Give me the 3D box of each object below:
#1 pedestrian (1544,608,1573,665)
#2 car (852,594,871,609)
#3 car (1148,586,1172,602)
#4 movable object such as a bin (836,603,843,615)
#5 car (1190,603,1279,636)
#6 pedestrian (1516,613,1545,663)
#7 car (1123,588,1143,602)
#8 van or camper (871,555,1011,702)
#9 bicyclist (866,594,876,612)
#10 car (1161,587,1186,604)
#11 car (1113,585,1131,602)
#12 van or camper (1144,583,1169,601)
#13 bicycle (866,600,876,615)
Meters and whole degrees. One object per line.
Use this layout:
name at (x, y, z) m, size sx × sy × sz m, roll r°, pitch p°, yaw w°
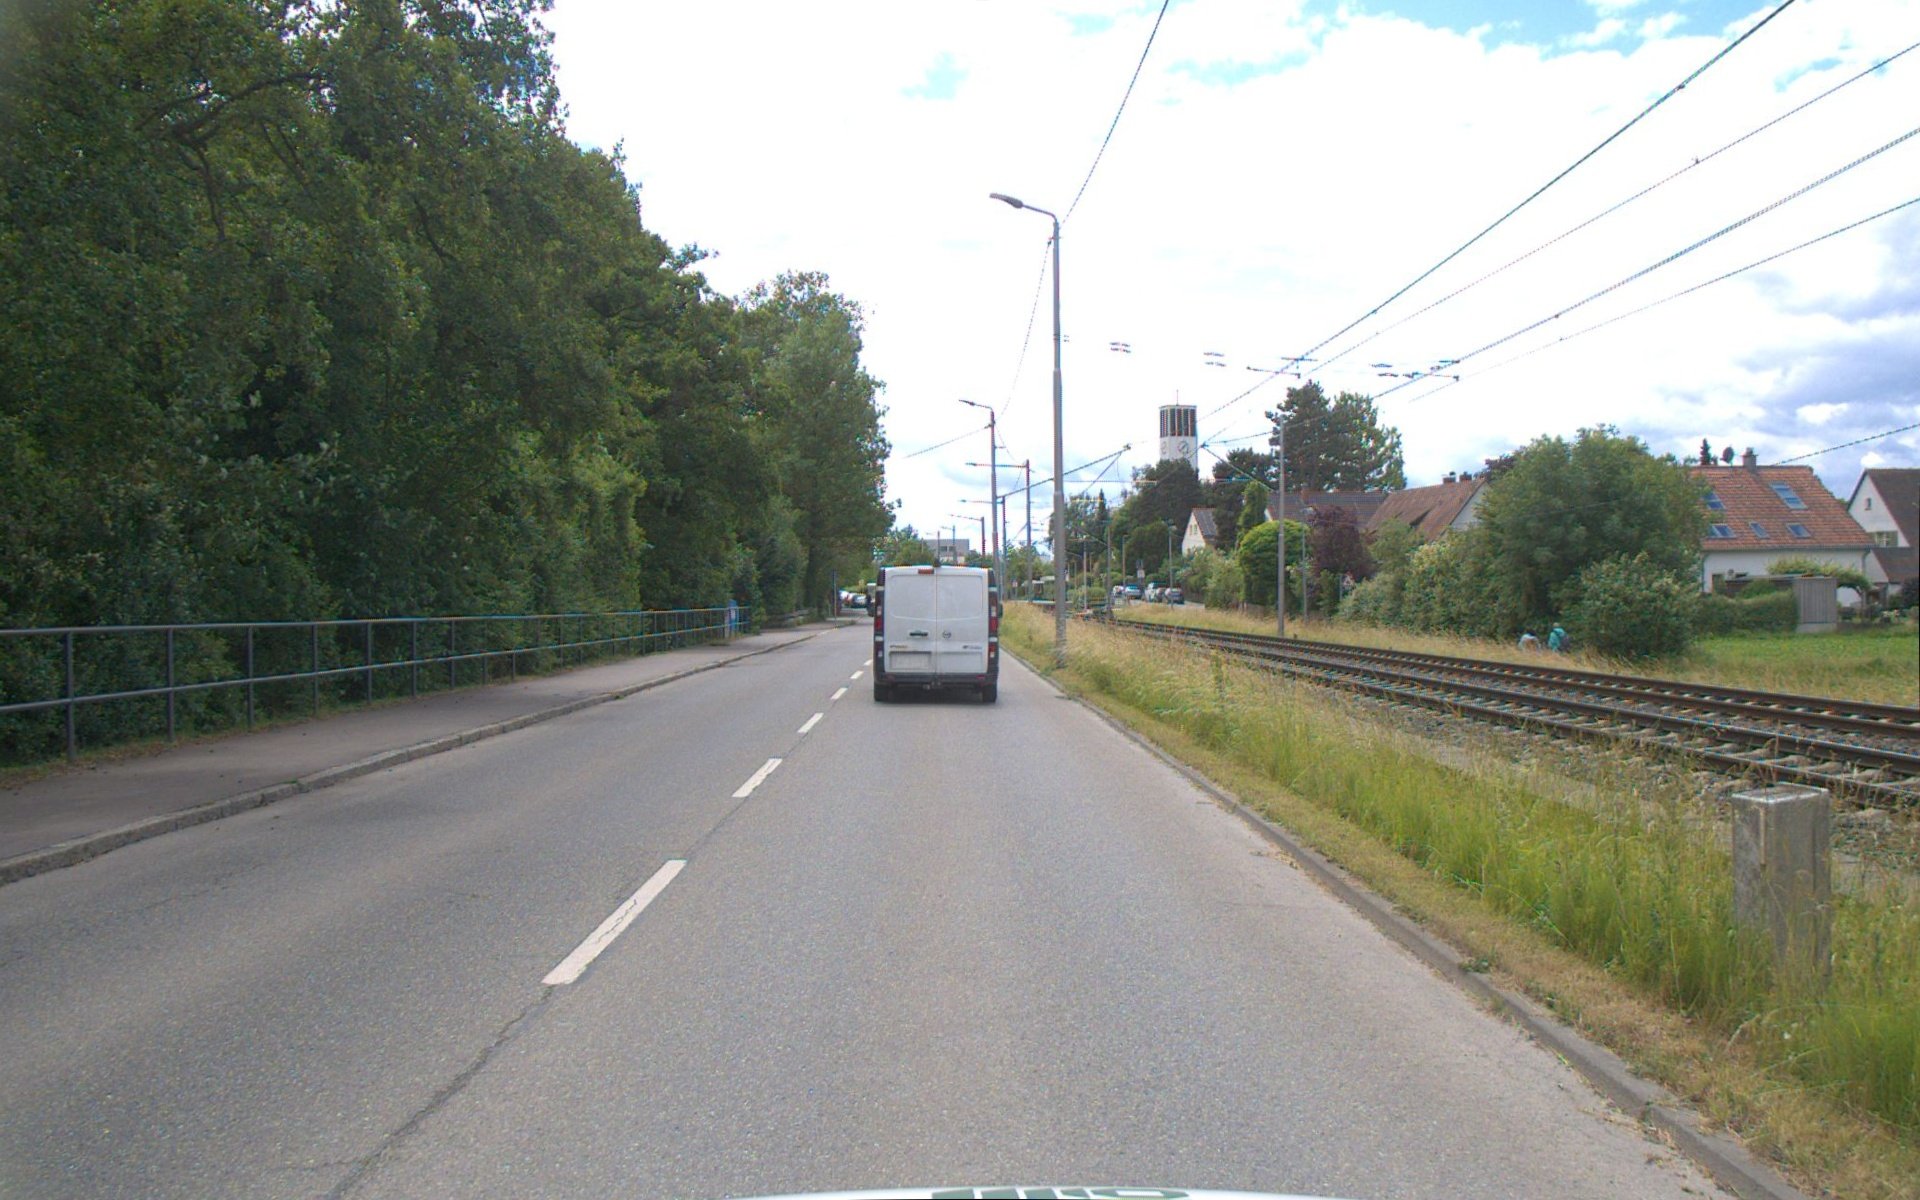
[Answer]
pedestrian at (17.767, 1.080, 49.117) m, size 0.604 × 1.650 × 0.584 m, roll 1°, pitch 0°, yaw -1°
car at (-10.680, 0.142, 179.003) m, size 1.704 × 1.531 × 4.470 m, roll -3°, pitch 1°, yaw -7°
car at (19.730, -0.630, 163.442) m, size 1.845 × 1.548 × 4.000 m, roll -1°, pitch 0°, yaw 0°
movable object such as a bin at (-9.643, 0.712, 132.238) m, size 0.503 × 0.961 × 0.568 m, roll 0°, pitch 0°, yaw -2°
car at (12.494, 0.879, 75.418) m, size 3.902 × 1.505 × 1.958 m, roll 0°, pitch 0°, yaw 6°
pedestrian at (16.935, 1.135, 49.114) m, size 0.585 × 1.455 × 0.666 m, roll 1°, pitch 0°, yaw -1°
car at (19.918, -0.569, 190.061) m, size 1.845 × 1.548 × 4.000 m, roll -1°, pitch 0°, yaw 0°
van or camper at (-0.292, 0.409, 25.473) m, size 1.953 × 2.049 × 4.445 m, roll 1°, pitch 0°, yaw -1°
bicyclist at (-7.716, 0.283, 143.524) m, size 0.762 × 1.576 × 0.869 m, roll -1°, pitch 0°, yaw -1°
car at (20.317, -0.445, 157.293) m, size 1.845 × 1.548 × 4.000 m, roll -1°, pitch 0°, yaw 0°
car at (19.390, -0.779, 198.420) m, size 1.697 × 1.947 × 3.934 m, roll 1°, pitch -1°, yaw -1°
van or camper at (19.951, -0.816, 168.165) m, size 1.866 × 1.858 × 5.047 m, roll -1°, pitch 0°, yaw 0°
bicycle at (-7.709, 0.639, 143.377) m, size 0.740 × 1.248 × 2.308 m, roll -2°, pitch 0°, yaw -1°
